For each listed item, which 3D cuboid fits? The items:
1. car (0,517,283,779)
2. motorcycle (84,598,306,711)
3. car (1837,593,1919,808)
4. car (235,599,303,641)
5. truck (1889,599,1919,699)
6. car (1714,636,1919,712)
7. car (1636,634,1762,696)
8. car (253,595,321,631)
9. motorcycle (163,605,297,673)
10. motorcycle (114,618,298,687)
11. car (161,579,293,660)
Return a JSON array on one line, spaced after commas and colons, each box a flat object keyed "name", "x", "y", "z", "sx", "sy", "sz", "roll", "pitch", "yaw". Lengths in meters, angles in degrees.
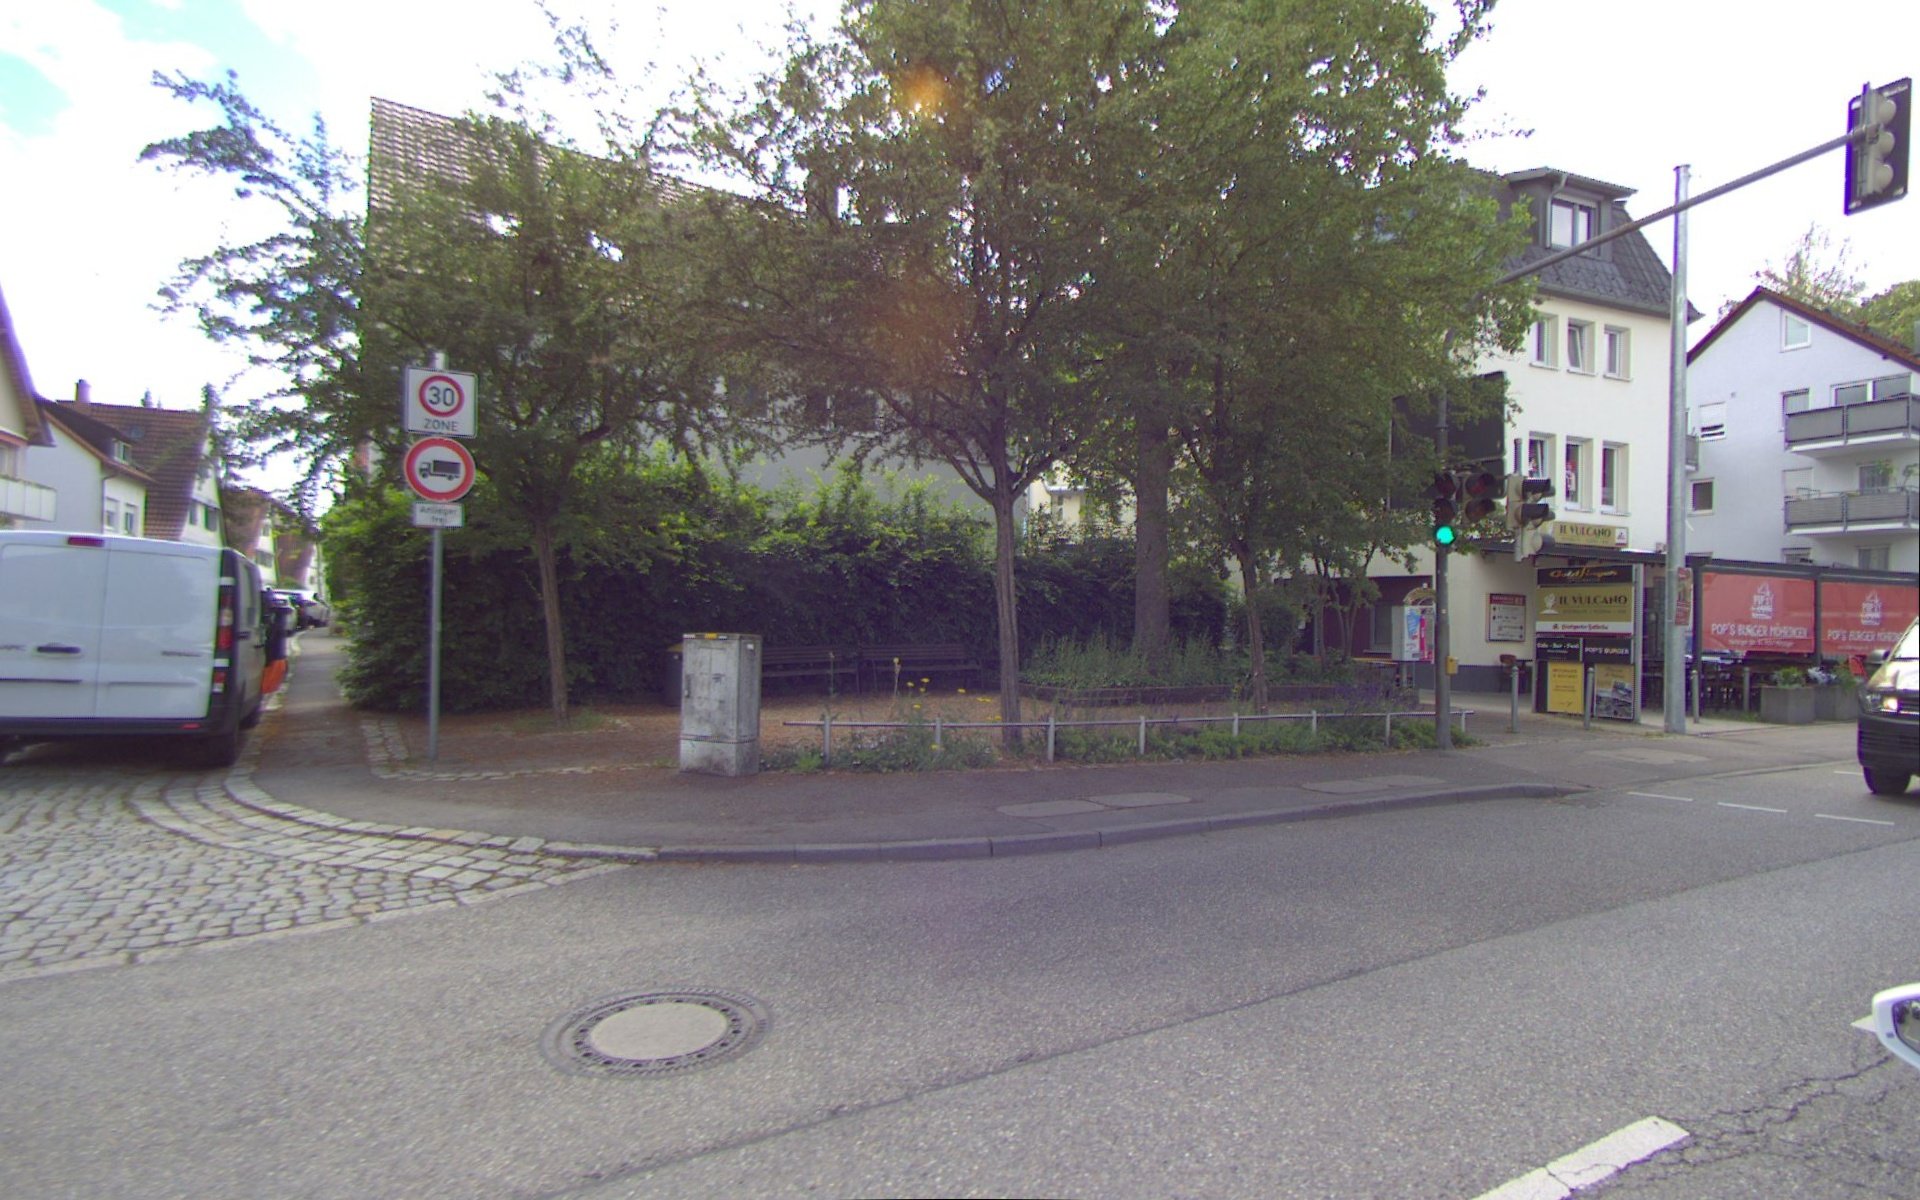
[{"name": "car", "x": -8.184, "y": 0.380, "z": 10.096, "sx": 2.072, "sy": 2.036, "sz": 4.595, "roll": 2, "pitch": -1, "yaw": -32}, {"name": "motorcycle", "x": -9.765, "y": 0.697, "z": 12.953, "sx": 2.108, "sy": 1.350, "sz": 0.838, "roll": 2, "pitch": -1, "yaw": -28}, {"name": "car", "x": 10.835, "y": 0.970, "z": 10.007, "sx": 4.699, "sy": 1.938, "sz": 1.867, "roll": 2, "pitch": -1, "yaw": -32}, {"name": "car", "x": -24.650, "y": 0.684, "z": 35.936, "sx": 1.816, "sy": 1.387, "sz": 4.122, "roll": 2, "pitch": -1, "yaw": -32}, {"name": "truck", "x": 26.208, "y": 1.294, "z": 25.251, "sx": 6.245, "sy": 2.411, "sz": 2.216, "roll": 2, "pitch": -1, "yaw": -27}, {"name": "car", "x": 19.396, "y": 1.586, "z": 22.464, "sx": 1.786, "sy": 1.444, "sz": 3.671, "roll": 2, "pitch": -1, "yaw": -33}, {"name": "car", "x": 19.536, "y": 1.684, "z": 26.674, "sx": 1.534, "sy": 1.489, "sz": 2.850, "roll": 2, "pitch": -2, "yaw": 9}, {"name": "car", "x": -28.015, "y": 0.532, "z": 41.923, "sx": 1.813, "sy": 1.387, "sz": 4.130, "roll": 2, "pitch": -1, "yaw": -27}, {"name": "motorcycle", "x": -13.685, "y": 0.733, "z": 18.886, "sx": 1.936, "sy": 1.240, "sz": 0.466, "roll": 2, "pitch": 0, "yaw": -22}, {"name": "motorcycle", "x": -12.410, "y": 0.841, "z": 16.572, "sx": 2.322, "sy": 1.018, "sz": 1.190, "roll": 2, "pitch": -1, "yaw": -43}, {"name": "car", "x": -15.892, "y": 0.398, "z": 21.977, "sx": 2.016, "sy": 1.597, "sz": 4.122, "roll": 2, "pitch": -1, "yaw": -32}]
